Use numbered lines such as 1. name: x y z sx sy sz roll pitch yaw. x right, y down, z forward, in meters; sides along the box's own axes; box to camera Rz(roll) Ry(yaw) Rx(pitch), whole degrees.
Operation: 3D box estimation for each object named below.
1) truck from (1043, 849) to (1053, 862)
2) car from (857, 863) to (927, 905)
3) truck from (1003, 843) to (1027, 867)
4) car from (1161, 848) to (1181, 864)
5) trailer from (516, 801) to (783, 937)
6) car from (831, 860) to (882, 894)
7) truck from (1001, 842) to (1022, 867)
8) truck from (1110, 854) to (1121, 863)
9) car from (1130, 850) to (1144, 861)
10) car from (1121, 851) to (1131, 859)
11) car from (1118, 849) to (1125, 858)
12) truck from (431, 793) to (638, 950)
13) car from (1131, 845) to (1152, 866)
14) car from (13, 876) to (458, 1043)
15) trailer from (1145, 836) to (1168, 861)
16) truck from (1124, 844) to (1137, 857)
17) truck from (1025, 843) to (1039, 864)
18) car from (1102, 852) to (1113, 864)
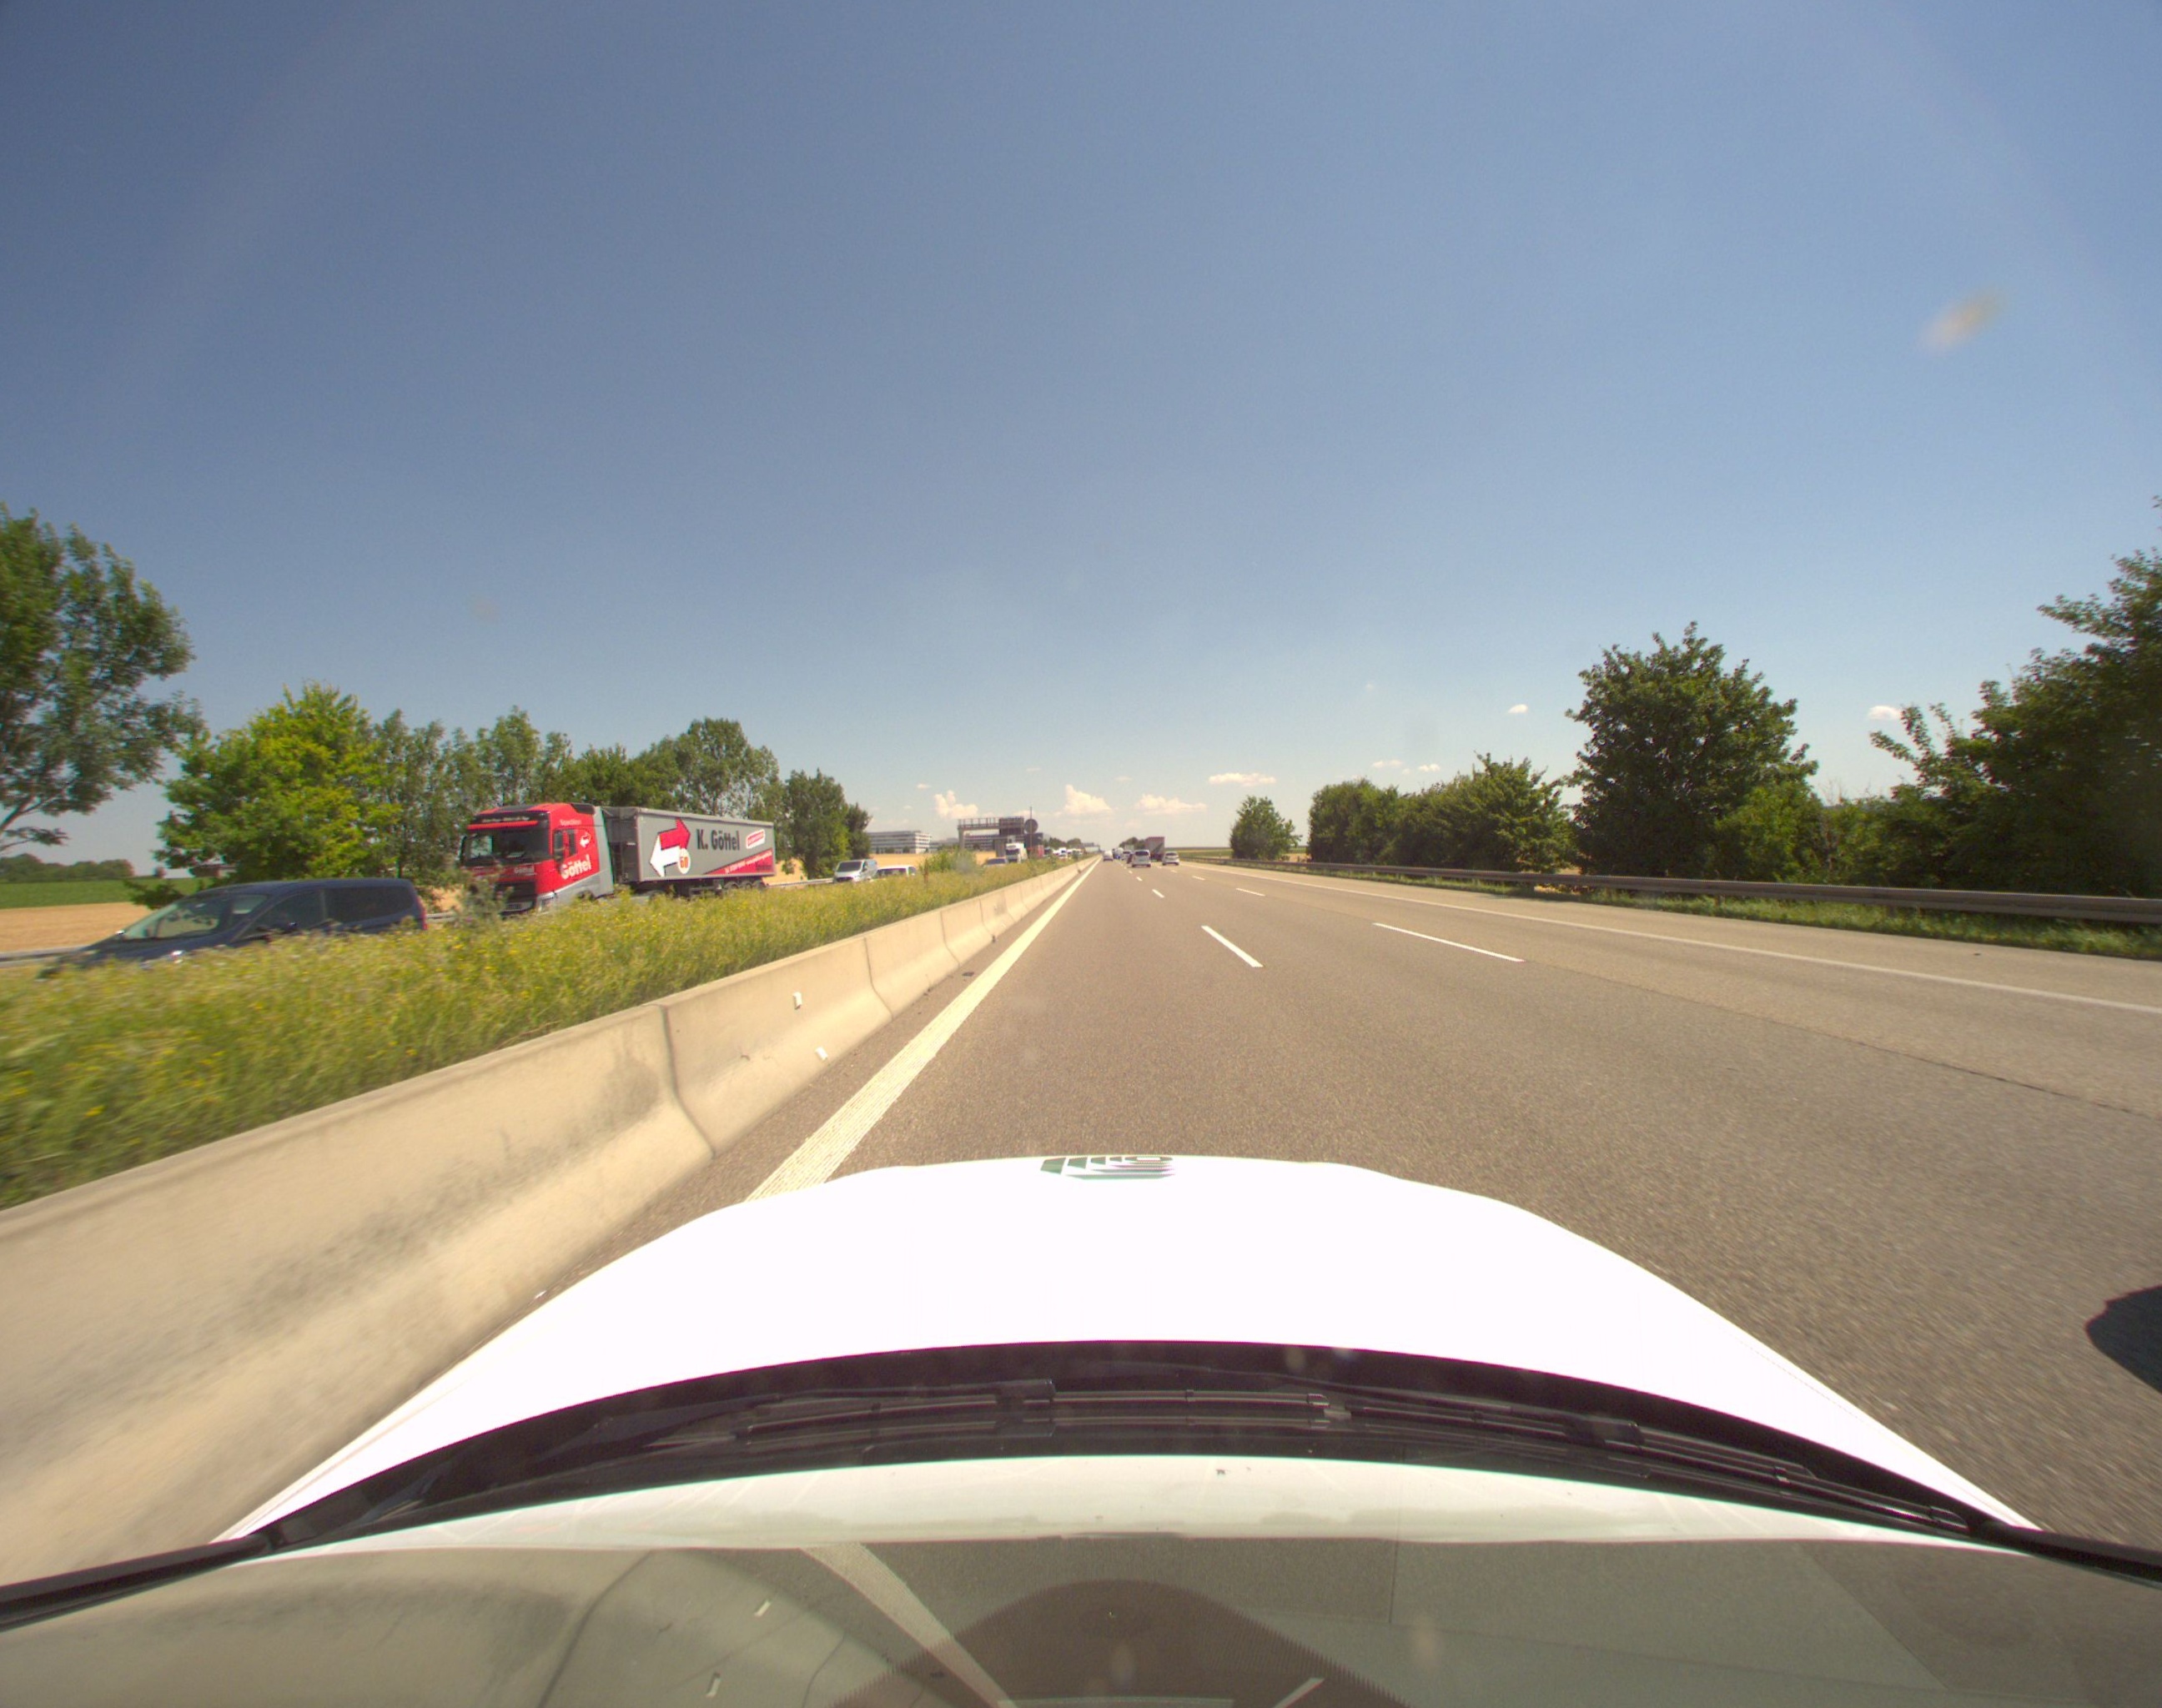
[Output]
1. truck: -9.140 0.343 225.970 2.102 3.600 7.122 -2 0 1
2. car: -7.207 1.111 31.440 1.688 1.417 3.816 -2 0 1
3. truck: -12.035 0.139 150.244 2.939 4.158 12.870 -3 0 1
4. car: 10.698 0.294 96.776 1.986 1.794 4.001 -1 -1 2
5. trailer: -14.873 0.450 29.944 2.845 3.855 12.189 -3 0 2
6. car: -14.482 1.431 52.888 1.756 1.952 5.118 -4 0 1
7. truck: -12.193 0.143 143.723 2.939 4.158 5.472 -3 0 1
8. truck: 7.503 0.988 179.279 2.204 2.013 4.972 -2 0 1
9. car: 7.963 0.231 116.421 1.767 1.447 4.001 -1 -1 2
10. car: 8.794 0.203 159.181 1.767 1.447 4.001 -1 -1 2
11. car: 10.610 -0.070 212.721 1.767 2.392 4.001 -1 -1 2
12. truck: -15.085 0.448 22.831 2.846 3.855 4.001 -3 0 1
13. car: 6.465 0.173 87.278 1.986 2.120 4.001 -1 -1 2
14. car: -11.276 1.261 11.419 1.688 1.727 4.262 -2 0 1
15. trailer: 12.517 -0.829 136.245 3.265 3.967 9.115 -1 -1 2
16. truck: 15.731 -1.192 259.477 3.802 3.905 9.583 -2 0 1
17. truck: -11.205 -0.079 185.667 2.766 4.598 4.724 -2 0 1
18. car: 4.829 0.731 147.644 1.986 2.014 4.001 -1 -1 2
